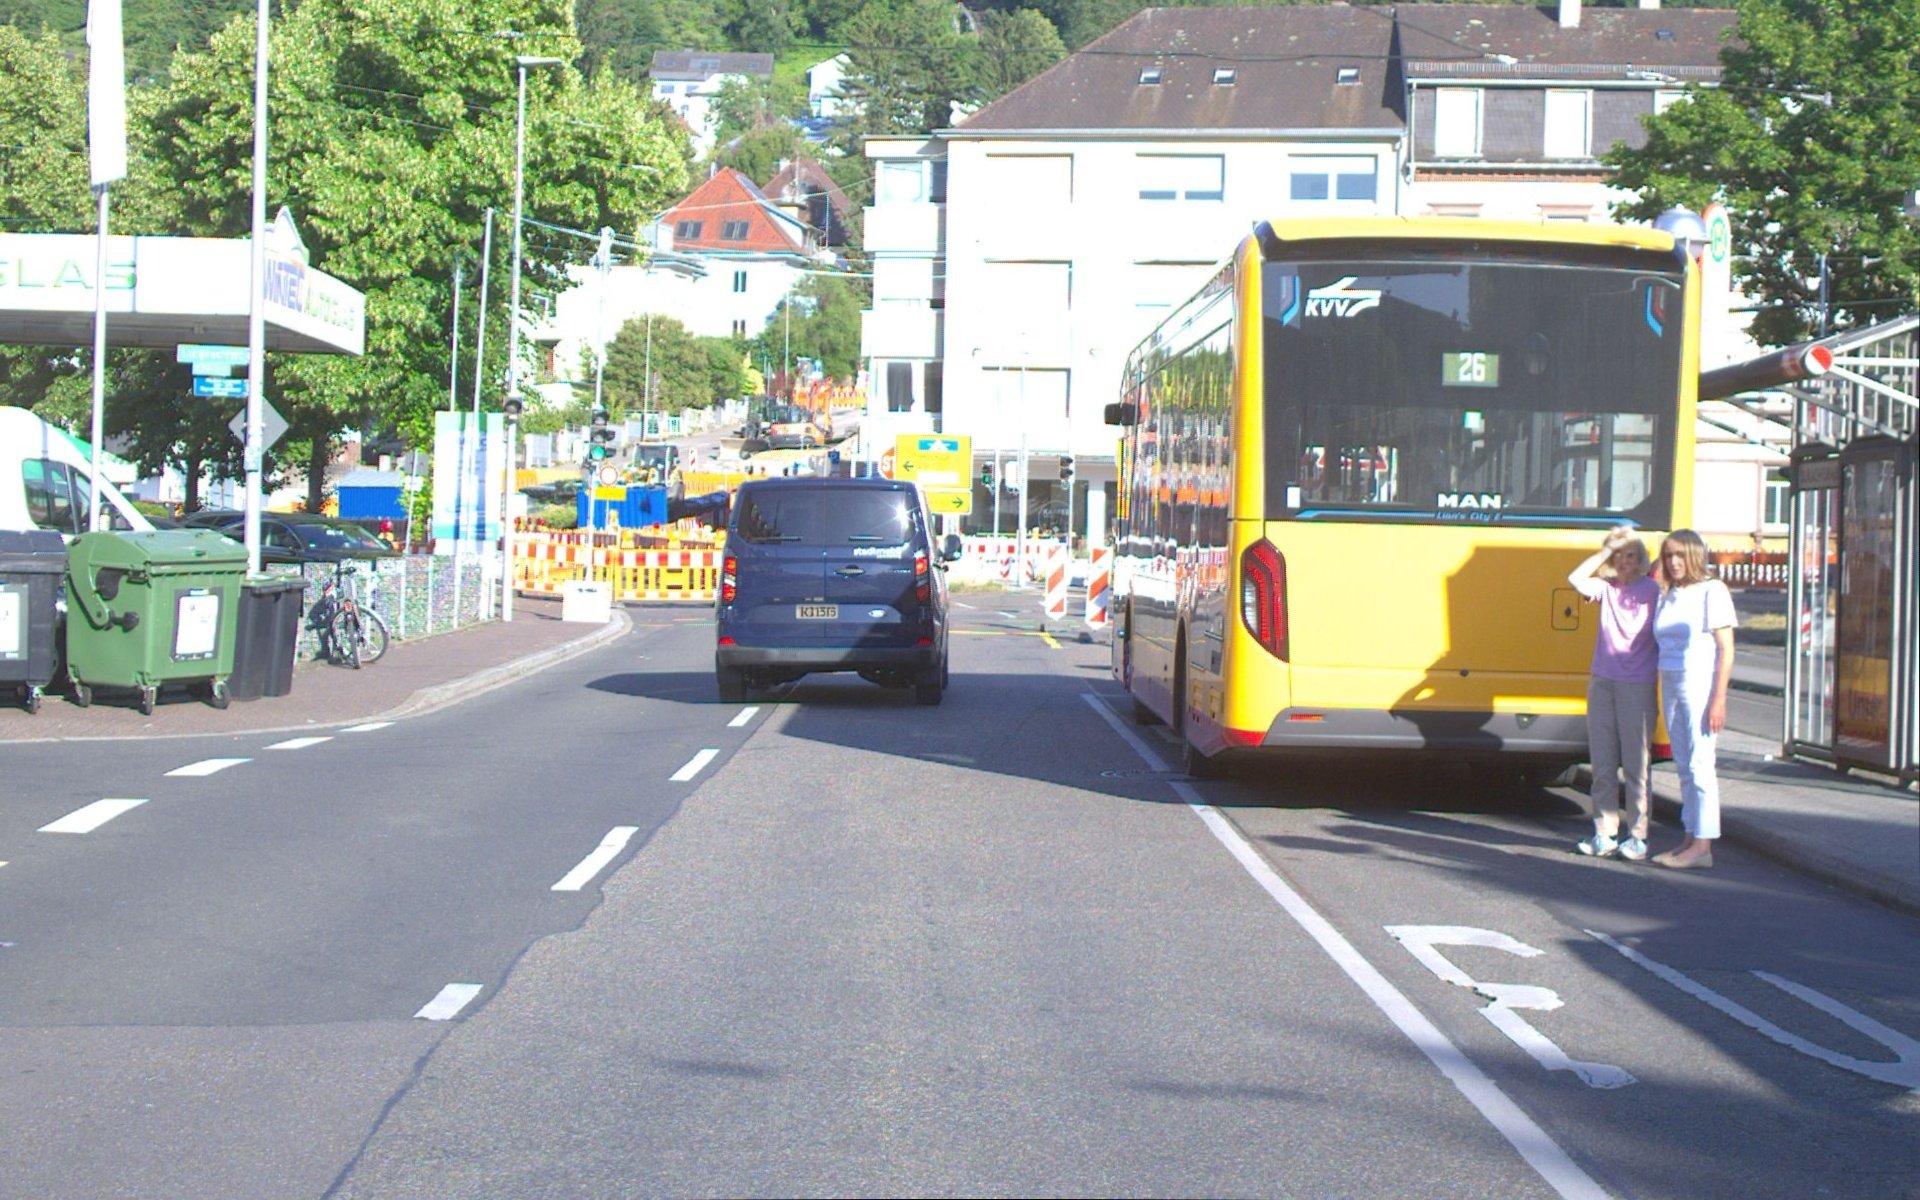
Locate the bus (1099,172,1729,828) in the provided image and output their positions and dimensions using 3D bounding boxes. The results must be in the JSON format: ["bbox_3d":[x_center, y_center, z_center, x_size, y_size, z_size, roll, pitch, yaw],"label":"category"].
[{"bbox_3d":[2.643,-0.658,24.187,2.688,3.404,12.019,1,1,0],"label":"bus"}]

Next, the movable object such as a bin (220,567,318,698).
[{"bbox_3d":[-5.990,0.275,29.814,0.640,1.065,0.580,2,4,12],"label":"movable object such as a bin"}]

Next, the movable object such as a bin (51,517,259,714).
[{"bbox_3d":[-6.593,0.105,28.194,1.056,1.477,1.310,4,5,28],"label":"movable object such as a bin"}]

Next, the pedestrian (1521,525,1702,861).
[{"bbox_3d":[3.203,0.445,16.918,0.544,1.607,0.636,1,1,-38],"label":"pedestrian"}]

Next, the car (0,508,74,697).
[{"bbox_3d":[-9.705,-0.060,29.574,3.985,1.563,1.773,2,1,-14],"label":"car"}]

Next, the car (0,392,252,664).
[{"bbox_3d":[-9.472,-0.718,32.544,5.054,2.461,2.109,2,1,-22],"label":"car"}]

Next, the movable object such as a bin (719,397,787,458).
[{"bbox_3d":[-9.642,-8.028,160.309,2.192,2.681,3.998,1,1,11],"label":"movable object such as a bin"}]

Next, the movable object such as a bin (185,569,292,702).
[{"bbox_3d":[-6.130,0.296,29.218,0.660,1.059,0.585,4,3,12],"label":"movable object such as a bin"}]

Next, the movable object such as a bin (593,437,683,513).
[{"bbox_3d":[-11.768,-4.553,125.833,2.192,2.681,3.998,1,1,11],"label":"movable object such as a bin"}]

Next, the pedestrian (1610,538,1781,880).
[{"bbox_3d":[3.546,0.512,16.584,0.544,1.607,0.549,1,1,-38],"label":"pedestrian"}]

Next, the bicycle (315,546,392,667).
[{"bbox_3d":[-6.170,0.053,35.015,0.723,1.174,1.781,1,1,-10],"label":"bicycle"}]

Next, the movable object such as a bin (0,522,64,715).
[{"bbox_3d":[-7.785,0.143,27.170,1.218,1.477,0.704,-1,5,-29],"label":"movable object such as a bin"}]

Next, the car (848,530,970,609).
[{"bbox_3d":[-0.983,-0.584,64.342,1.794,1.405,4.001,1,1,-8],"label":"car"}]

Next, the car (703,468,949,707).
[{"bbox_3d":[-1.153,-0.135,31.485,2.062,2.007,5.000,0,1,-1],"label":"car"}]
